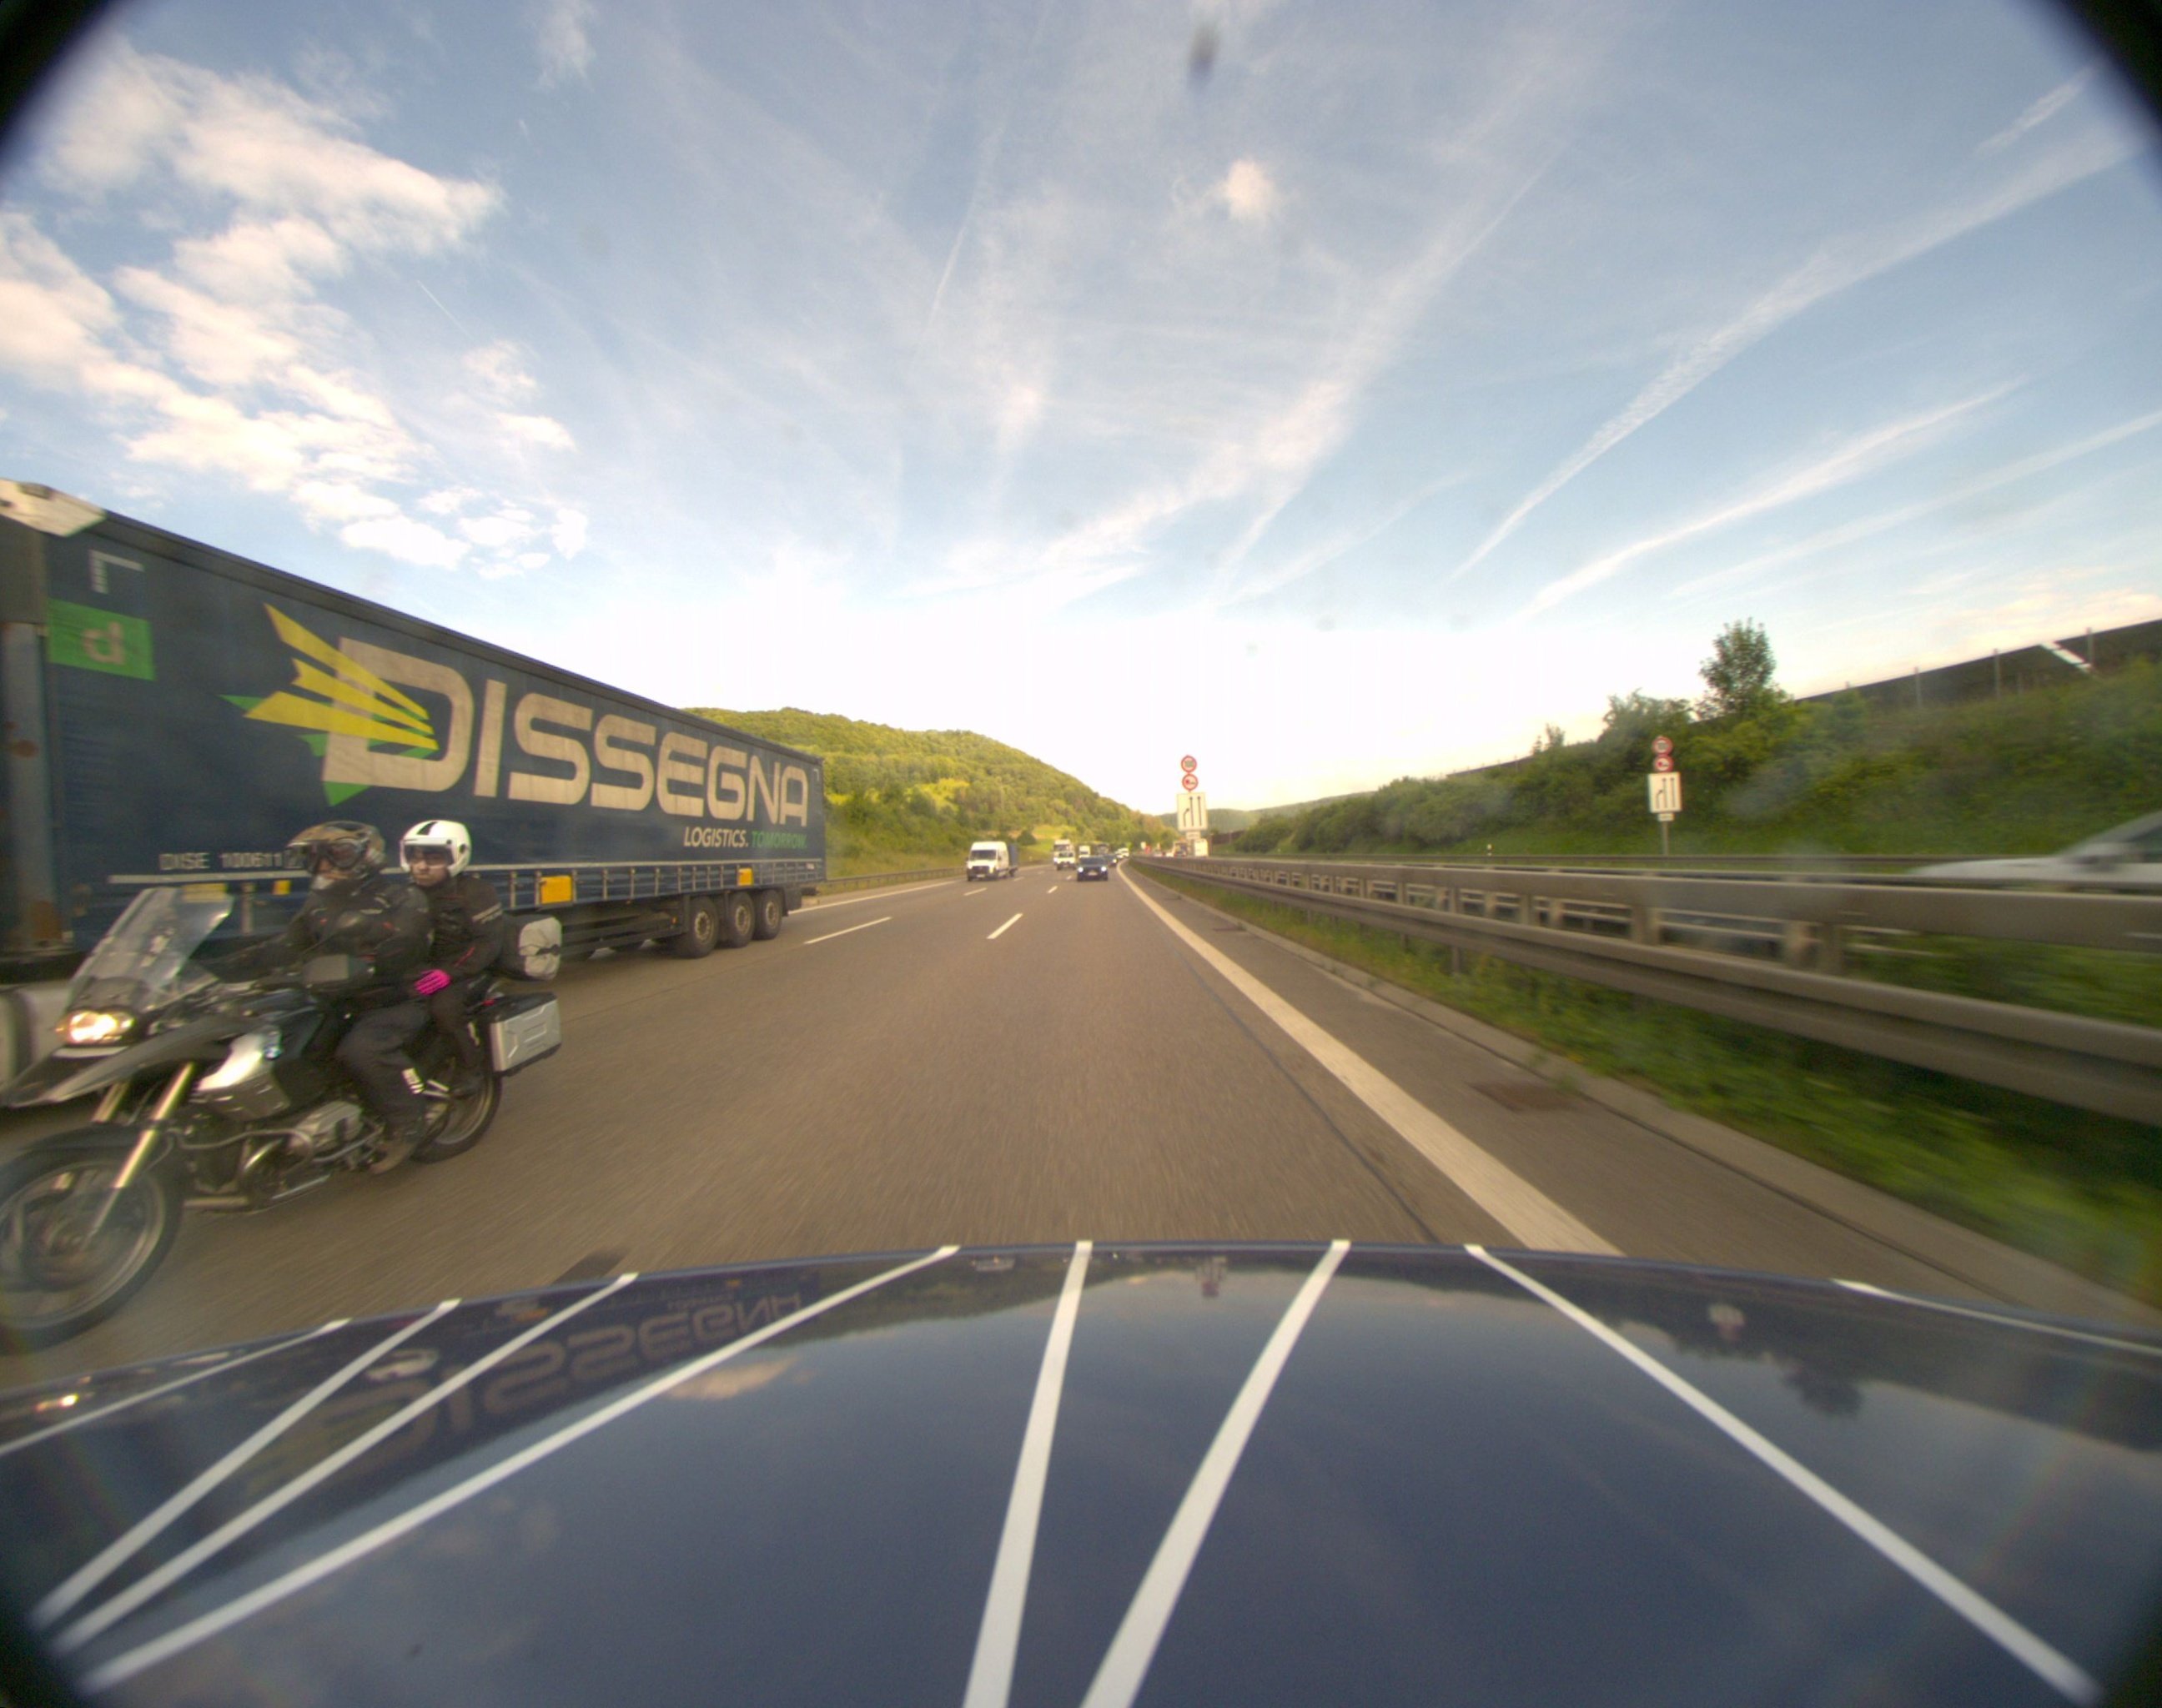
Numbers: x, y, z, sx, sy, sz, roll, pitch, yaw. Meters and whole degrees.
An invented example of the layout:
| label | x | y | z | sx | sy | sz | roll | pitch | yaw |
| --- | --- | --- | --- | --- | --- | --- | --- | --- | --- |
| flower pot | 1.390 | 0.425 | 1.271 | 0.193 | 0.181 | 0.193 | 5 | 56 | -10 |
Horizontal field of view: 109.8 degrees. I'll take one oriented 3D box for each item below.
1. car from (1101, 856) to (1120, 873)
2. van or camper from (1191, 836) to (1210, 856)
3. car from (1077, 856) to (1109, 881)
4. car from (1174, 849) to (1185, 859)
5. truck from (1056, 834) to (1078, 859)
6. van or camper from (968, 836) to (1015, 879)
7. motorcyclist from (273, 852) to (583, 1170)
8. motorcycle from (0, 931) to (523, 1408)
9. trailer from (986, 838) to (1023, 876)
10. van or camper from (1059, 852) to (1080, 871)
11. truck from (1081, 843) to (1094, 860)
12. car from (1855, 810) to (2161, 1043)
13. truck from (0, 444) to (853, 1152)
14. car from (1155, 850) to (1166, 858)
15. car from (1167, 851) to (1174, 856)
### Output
| label | x | y | z | sx | sy | sz | roll | pitch | yaw |
| --- | --- | --- | --- | --- | --- | --- | --- | --- | --- |
| car | 3.355 | 1.201 | 85.511 | 1.998 | 1.870 | 4.001 | -1 | 0 | 4 |
| van or camper | 21.668 | -1.417 | 138.531 | 2.488 | 3.531 | 7.978 | -2 | 0 | 3 |
| car | 0.741 | 0.819 | 44.817 | 1.580 | 1.310 | 4.001 | -2 | 0 | 5 |
| car | 18.053 | -0.040 | 139.287 | 1.647 | 1.646 | 4.345 | -2 | 0 | 2 |
| truck | -2.306 | -1.151 | 126.715 | 2.925 | 3.876 | 13.010 | -2 | 0 | 2 |
| van or camper | -6.045 | 0.243 | 52.228 | 1.998 | 2.701 | 7.524 | -2 | 0 | 2 |
| motorcyclist | -3.396 | 0.761 | 4.041 | 0.878 | 1.506 | 0.798 | -2 | 1 | 5 |
| motorcycle | -3.423 | 1.095 | 3.282 | 0.628 | 1.331 | 1.739 | -2 | 0 | 3 |
| trailer | -5.797 | 0.230 | 58.271 | 1.998 | 2.710 | 5.250 | -2 | 0 | 3 |
| van or camper | -1.218 | 0.750 | 78.251 | 1.999 | 1.881 | 4.486 | -2 | 0 | -2 |
| truck | 1.323 | -0.559 | 165.236 | 2.709 | 3.627 | 9.032 | -2 | 0 | 0 |
| car | 8.270 | 0.469 | 4.693 | 1.837 | 1.582 | 5.019 | -2 | 0 | 0 |
| truck | -7.473 | -0.303 | 10.549 | 2.972 | 3.969 | 17.731 | -2 | 0 | 1 |
| car | 14.305 | -0.009 | 137.205 | 1.784 | 1.401 | 3.763 | -2 | 0 | 4 |
| car | 24.226 | -0.130 | 206.766 | 1.647 | 1.427 | 4.346 | -3 | 0 | 4 |
